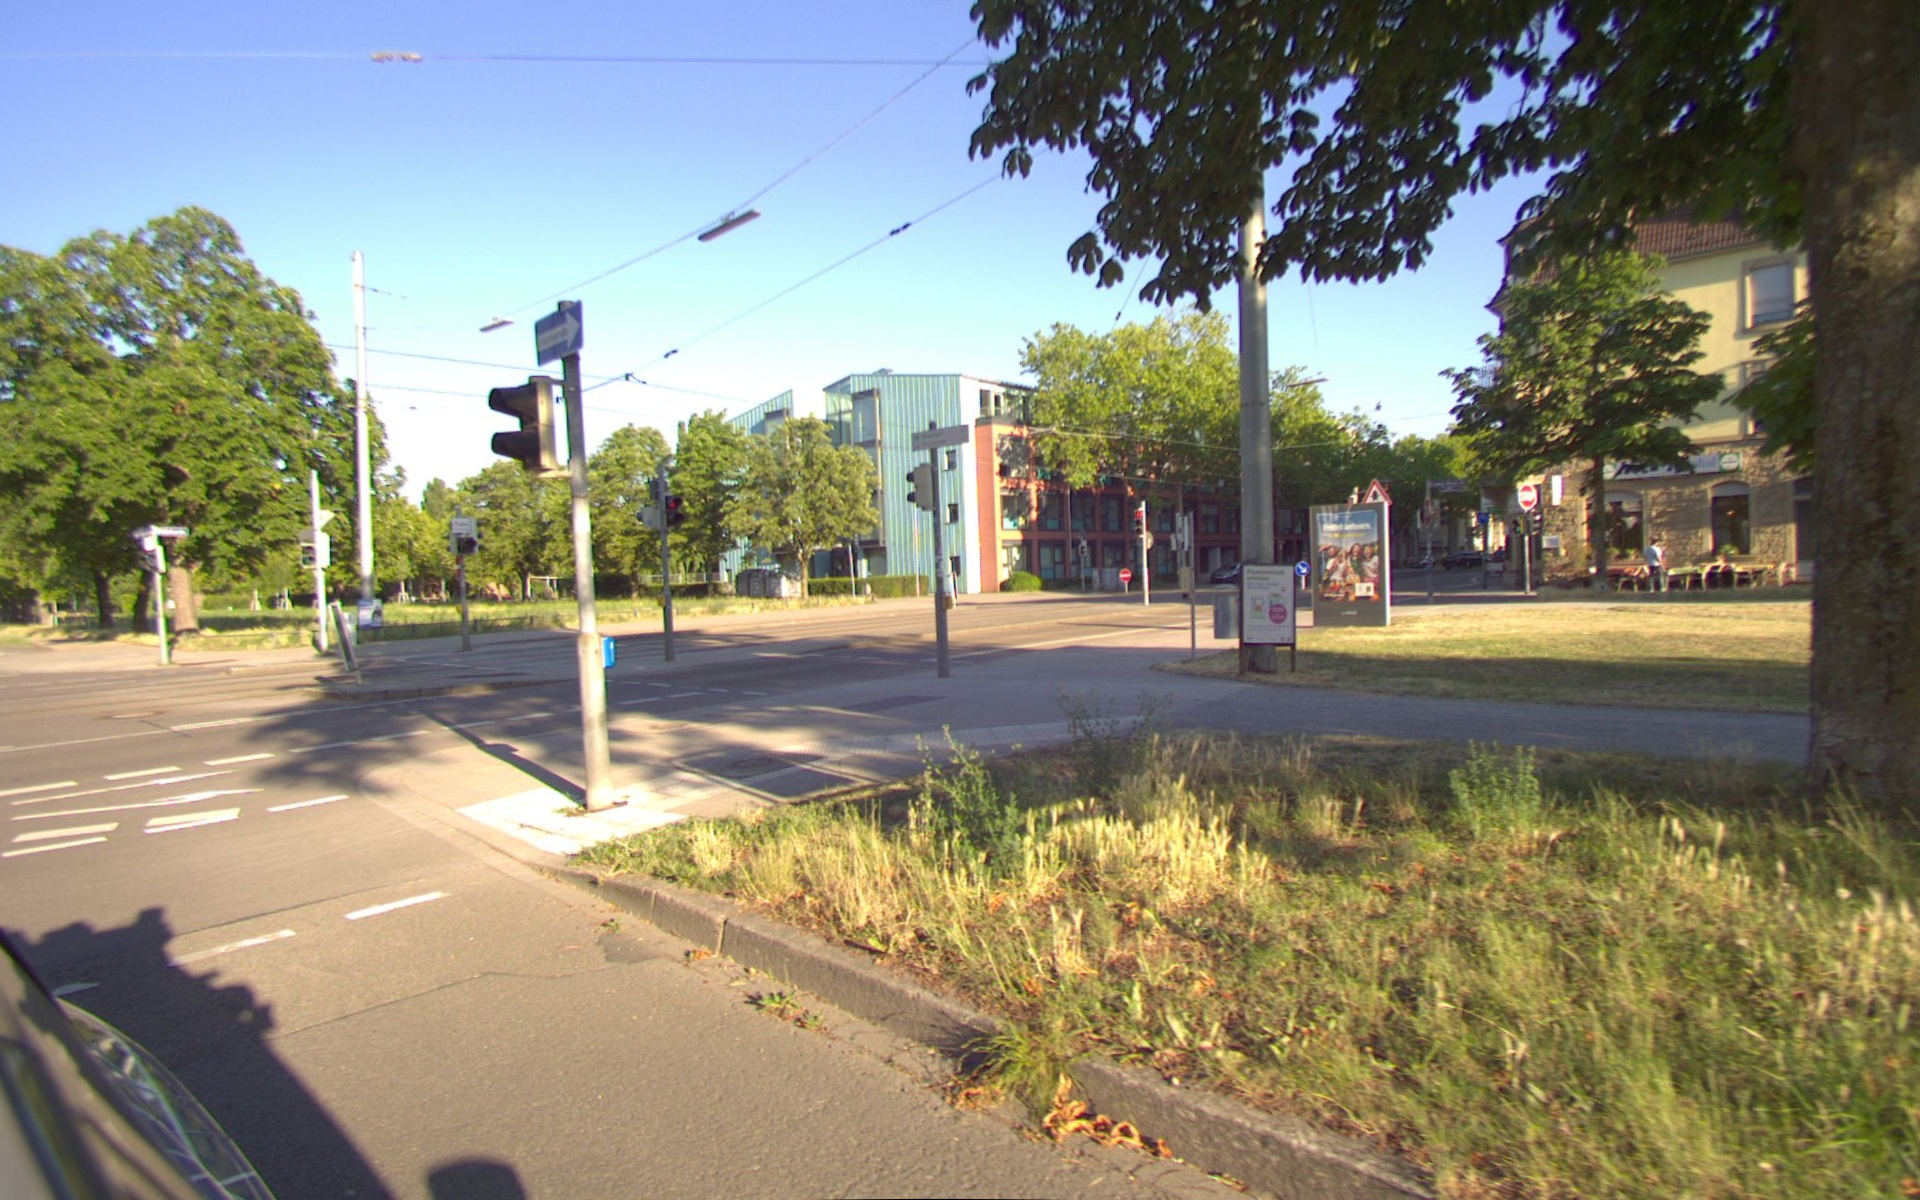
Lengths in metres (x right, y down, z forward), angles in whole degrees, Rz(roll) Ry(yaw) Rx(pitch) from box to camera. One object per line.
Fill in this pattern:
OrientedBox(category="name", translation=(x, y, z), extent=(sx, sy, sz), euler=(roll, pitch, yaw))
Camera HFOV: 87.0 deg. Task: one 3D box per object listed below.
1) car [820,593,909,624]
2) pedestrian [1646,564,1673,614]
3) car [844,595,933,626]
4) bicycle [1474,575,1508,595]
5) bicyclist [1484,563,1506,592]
OrientedBox(category="car", translation=(-5.534, 0.486, 59.006), extent=(1.968, 1.684, 5.149), euler=(-3, -2, 43))
OrientedBox(category="pedestrian", translation=(23.785, -0.379, 34.417), extent=(0.683, 1.636, 0.609), euler=(0, 4, 42))
OrientedBox(category="car", translation=(-4.002, 0.562, 57.523), extent=(1.999, 1.684, 5.151), euler=(0, 0, 41))
OrientedBox(category="bicycle", translation=(33.281, -0.936, 63.374), extent=(3.036, 1.170, 0.876), euler=(-3, 2, -41))
OrientedBox(category="bicyclist", translation=(33.662, -1.413, 63.705), extent=(1.131, 1.736, 0.876), euler=(-3, 2, -41))
